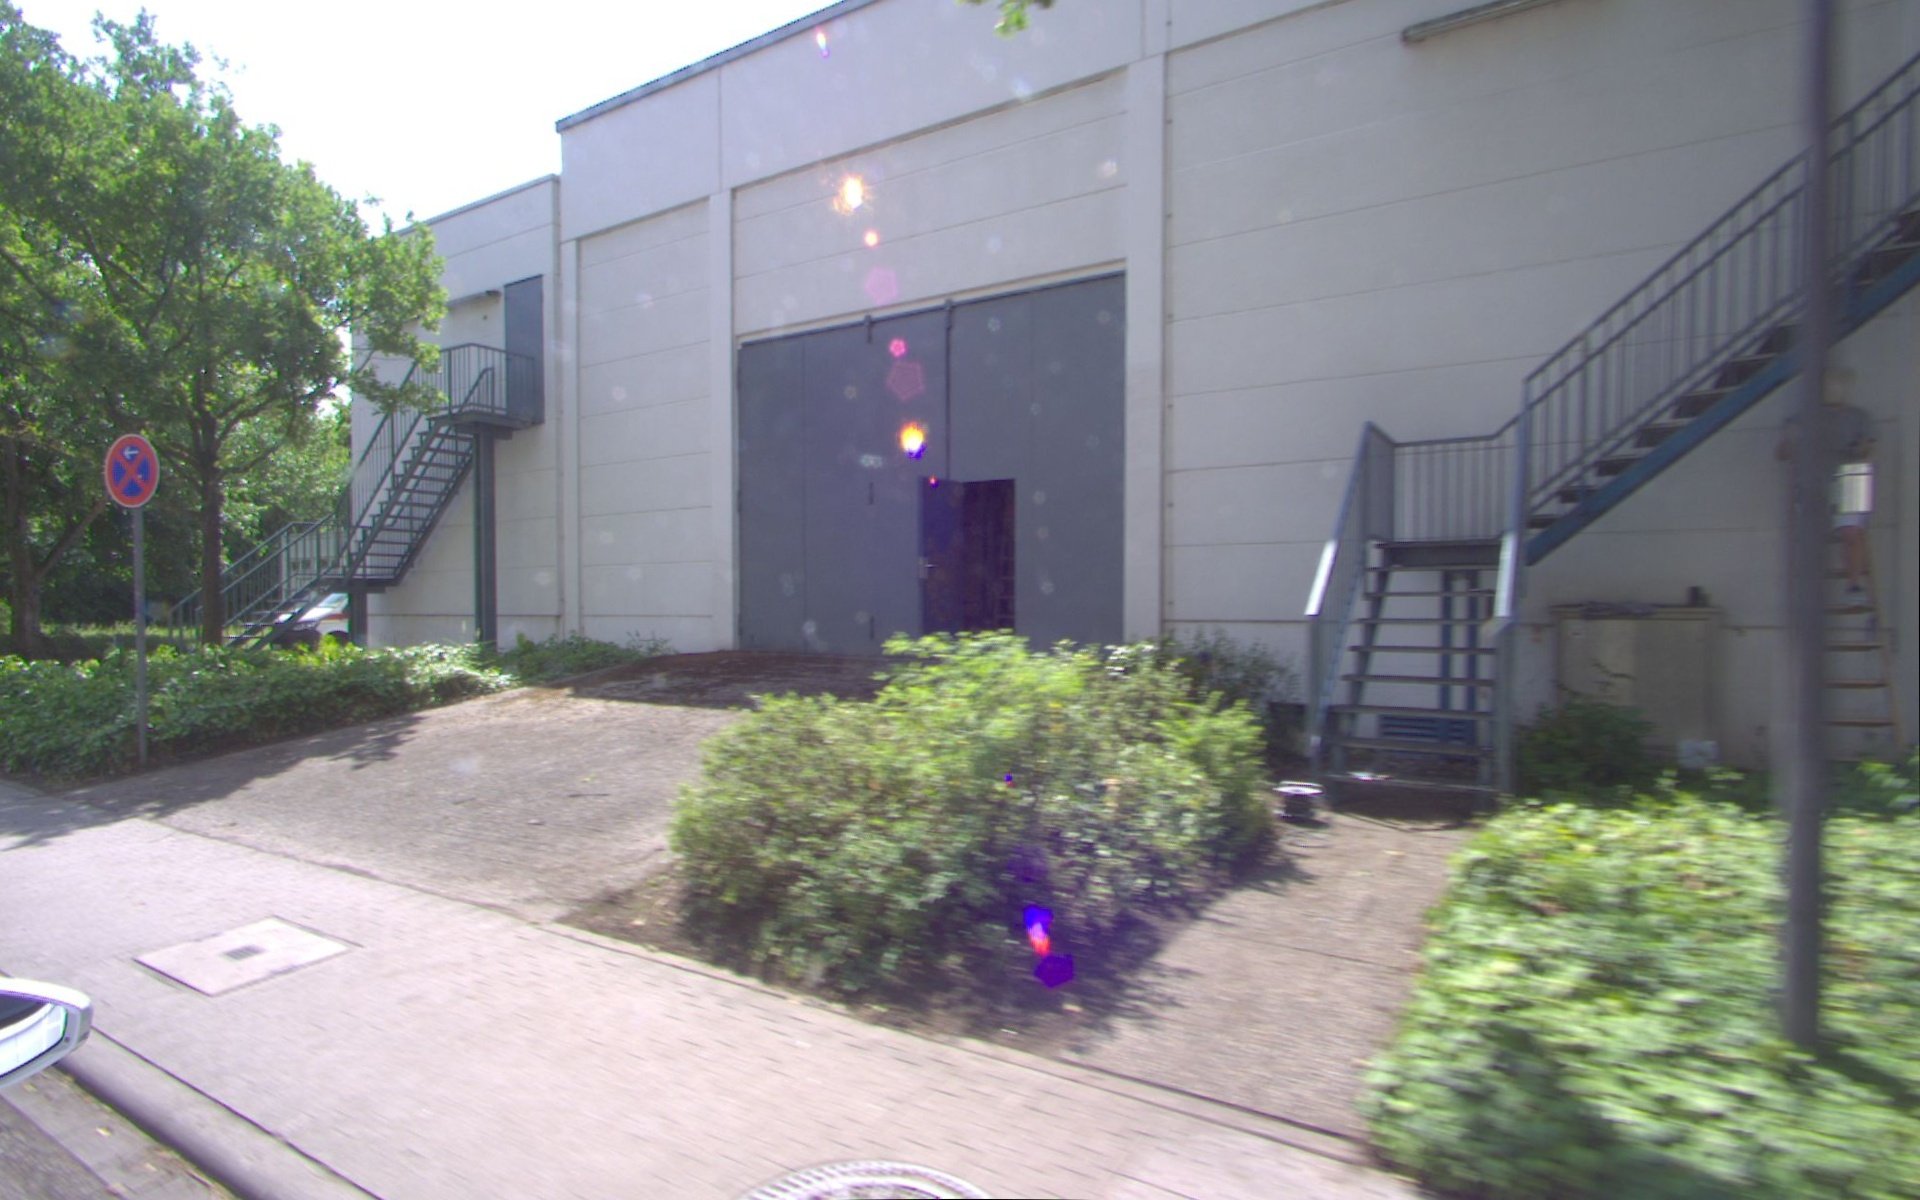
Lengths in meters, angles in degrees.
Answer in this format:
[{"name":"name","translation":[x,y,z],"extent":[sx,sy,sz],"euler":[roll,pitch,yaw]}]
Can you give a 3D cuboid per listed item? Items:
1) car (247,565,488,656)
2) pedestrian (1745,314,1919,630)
[{"name":"car","translation":[-14.652,0.227,25.064],"extent":[2.033,2.040,4.813],"euler":[0,1,33]},{"name":"pedestrian","translation":[6.193,-0.833,7.085],"extent":[0.937,2.041,0.924],"euler":[1,2,36]}]
